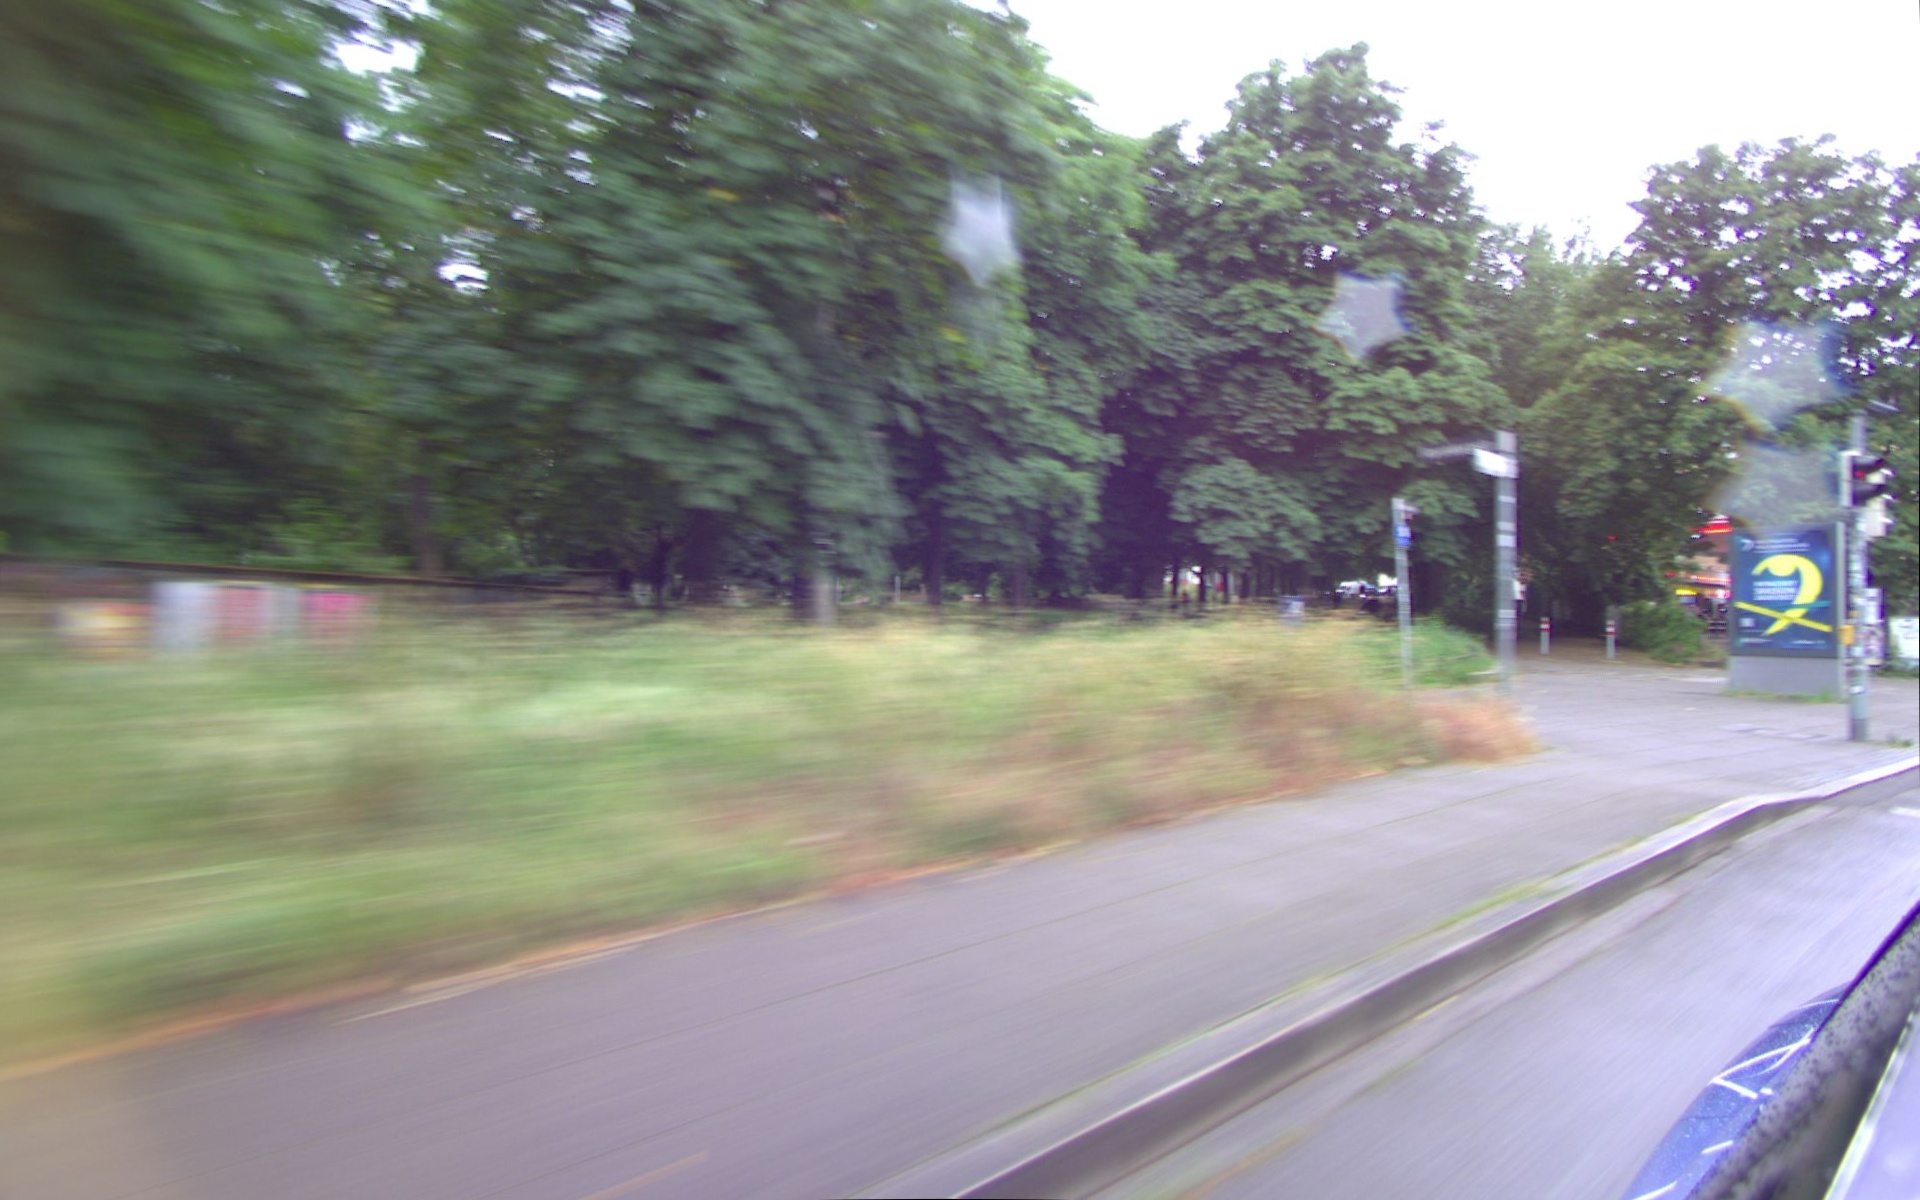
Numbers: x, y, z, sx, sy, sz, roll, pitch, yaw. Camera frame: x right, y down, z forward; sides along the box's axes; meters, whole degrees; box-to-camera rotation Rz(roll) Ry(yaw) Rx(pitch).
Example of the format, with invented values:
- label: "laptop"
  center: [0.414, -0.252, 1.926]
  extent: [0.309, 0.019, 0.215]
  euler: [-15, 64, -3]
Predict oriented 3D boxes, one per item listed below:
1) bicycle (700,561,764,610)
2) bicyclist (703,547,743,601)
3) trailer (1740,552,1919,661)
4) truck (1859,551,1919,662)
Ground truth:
- label: "bicycle"
  center: [-5.575, -0.355, 24.705]
  extent: [1.703, 1.154, 0.617]
  euler: [1, 0, 39]
- label: "bicyclist"
  center: [-5.844, -0.627, 24.907]
  extent: [0.796, 1.311, 0.587]
  euler: [1, 0, 37]
- label: "trailer"
  center: [32.304, 0.176, 36.356]
  extent: [2.770, 3.438, 9.800]
  euler: [1, 1, 12]
- label: "truck"
  center: [31.120, 0.222, 30.894]
  extent: [2.794, 3.442, 6.101]
  euler: [1, 1, 13]
